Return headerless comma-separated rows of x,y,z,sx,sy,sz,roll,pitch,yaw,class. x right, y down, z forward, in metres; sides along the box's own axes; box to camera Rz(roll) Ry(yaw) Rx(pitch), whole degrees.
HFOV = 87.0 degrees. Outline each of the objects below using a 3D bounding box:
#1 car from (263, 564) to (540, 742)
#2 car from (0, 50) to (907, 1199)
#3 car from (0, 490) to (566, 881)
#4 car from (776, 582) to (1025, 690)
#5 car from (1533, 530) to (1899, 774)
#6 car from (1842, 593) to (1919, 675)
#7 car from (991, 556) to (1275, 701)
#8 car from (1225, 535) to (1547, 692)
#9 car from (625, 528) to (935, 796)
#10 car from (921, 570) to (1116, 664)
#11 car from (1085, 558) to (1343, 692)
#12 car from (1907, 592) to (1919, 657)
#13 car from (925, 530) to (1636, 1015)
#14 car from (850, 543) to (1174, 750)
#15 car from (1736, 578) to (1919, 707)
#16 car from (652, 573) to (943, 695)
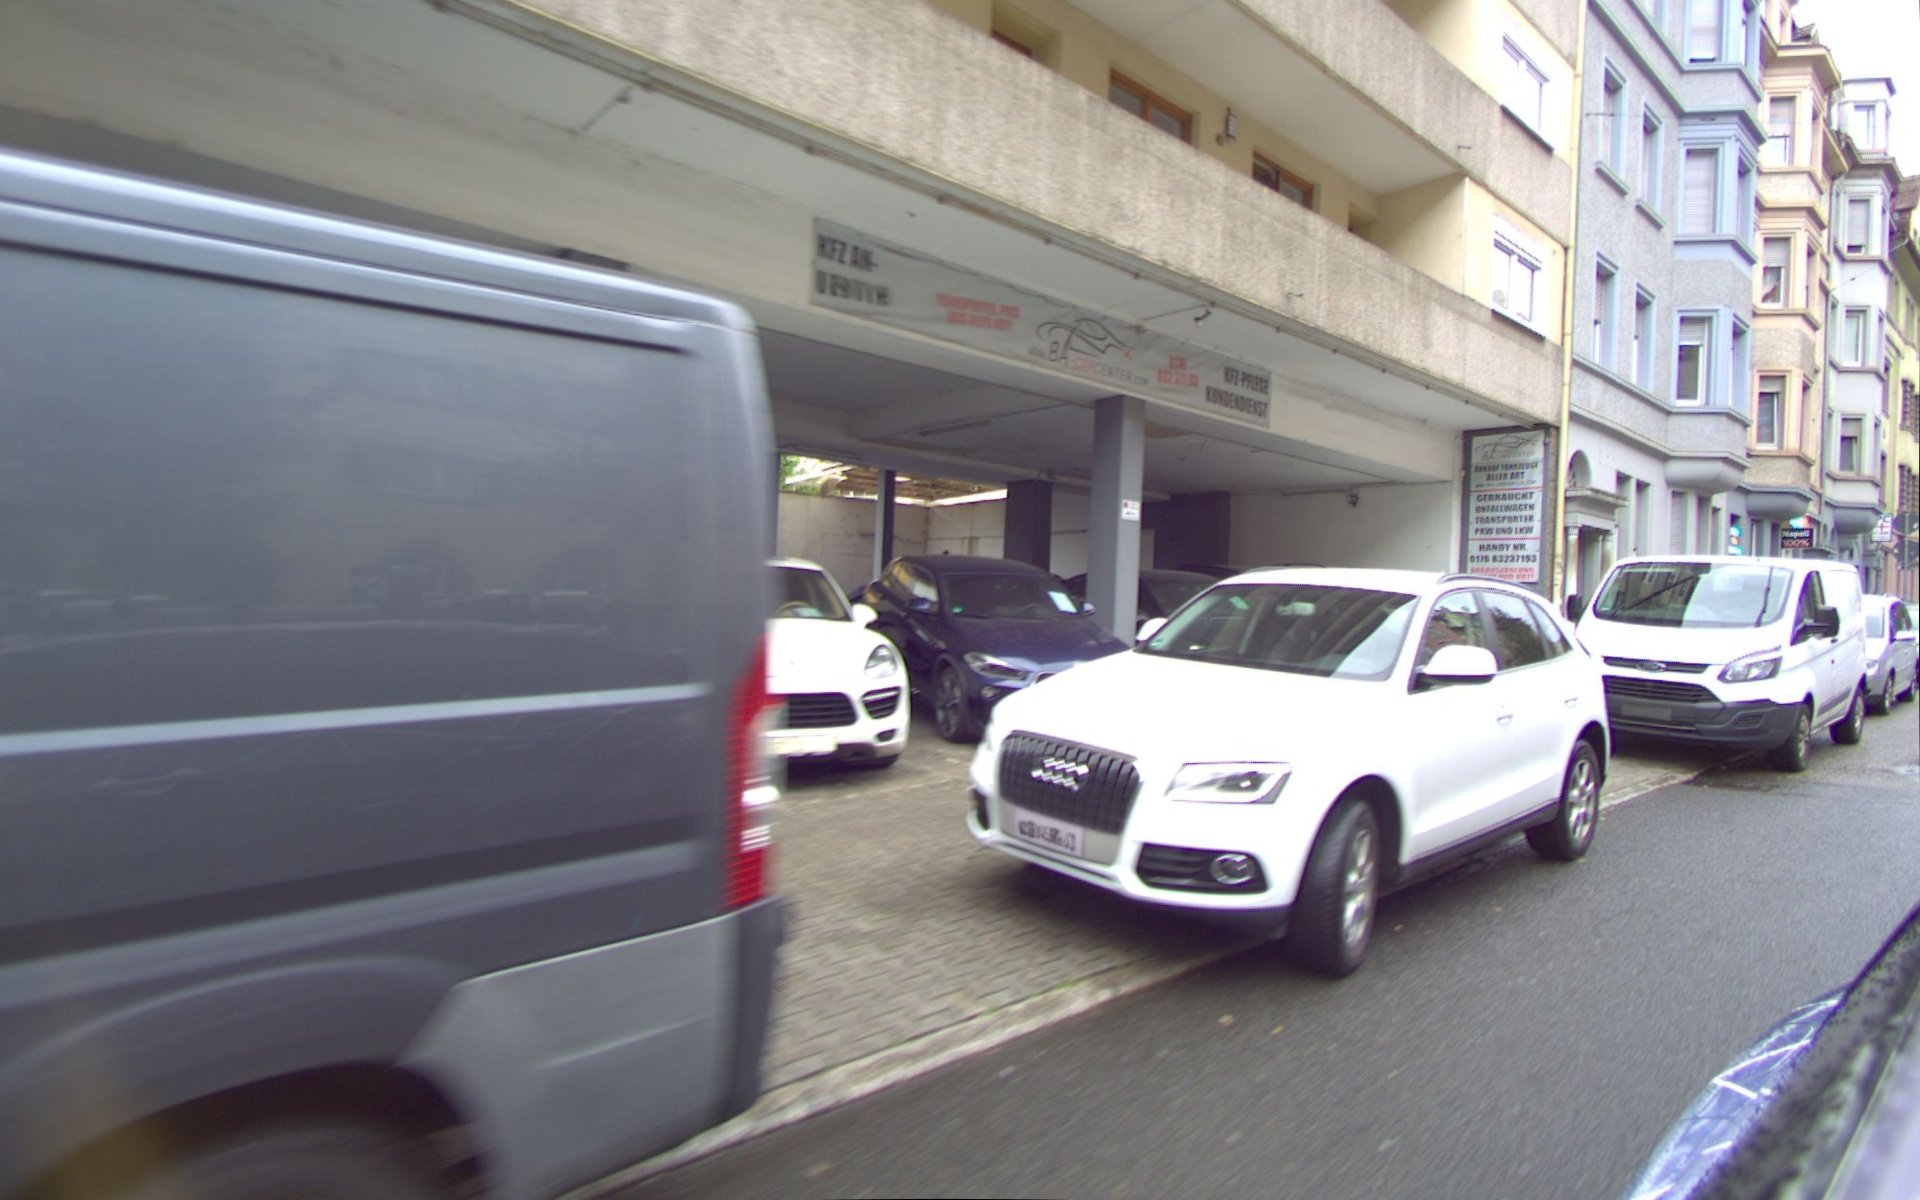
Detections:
-5.629,0.364,9.998,1.711,1.414,3.657,-1,2,-40,car
-2.872,0.339,1.378,5.414,2.175,2.158,0,2,-41,car
-4.477,0.292,6.304,4.217,1.676,1.775,2,2,36,car
-0.891,0.484,15.307,3.380,1.451,1.649,1,0,23,car
8.013,0.363,10.546,4.737,1.979,1.994,0,3,-40,car
19.132,0.621,20.138,4.281,1.460,1.731,0,2,-40,car
2.084,0.251,13.413,1.775,1.603,4.009,1,2,-23,car
6.279,0.148,15.577,1.958,2.039,4.474,2,1,-21,car
-1.745,0.312,8.460,1.774,1.661,4.046,1,2,-21,car
0.947,0.232,17.799,1.631,1.483,3.417,-1,1,-37,car
3.651,0.311,15.301,1.678,1.736,4.008,1,0,-23,car
23.467,0.573,23.500,3.863,1.460,1.708,0,2,-40,car
1.991,0.551,5.506,4.199,1.660,1.749,0,2,-41,car
0.280,0.306,10.281,1.774,1.661,3.966,1,2,-21,car
13.278,0.529,15.157,4.235,1.617,1.731,0,3,-40,car
-2.205,0.356,13.554,3.632,1.414,1.722,1,2,31,car
